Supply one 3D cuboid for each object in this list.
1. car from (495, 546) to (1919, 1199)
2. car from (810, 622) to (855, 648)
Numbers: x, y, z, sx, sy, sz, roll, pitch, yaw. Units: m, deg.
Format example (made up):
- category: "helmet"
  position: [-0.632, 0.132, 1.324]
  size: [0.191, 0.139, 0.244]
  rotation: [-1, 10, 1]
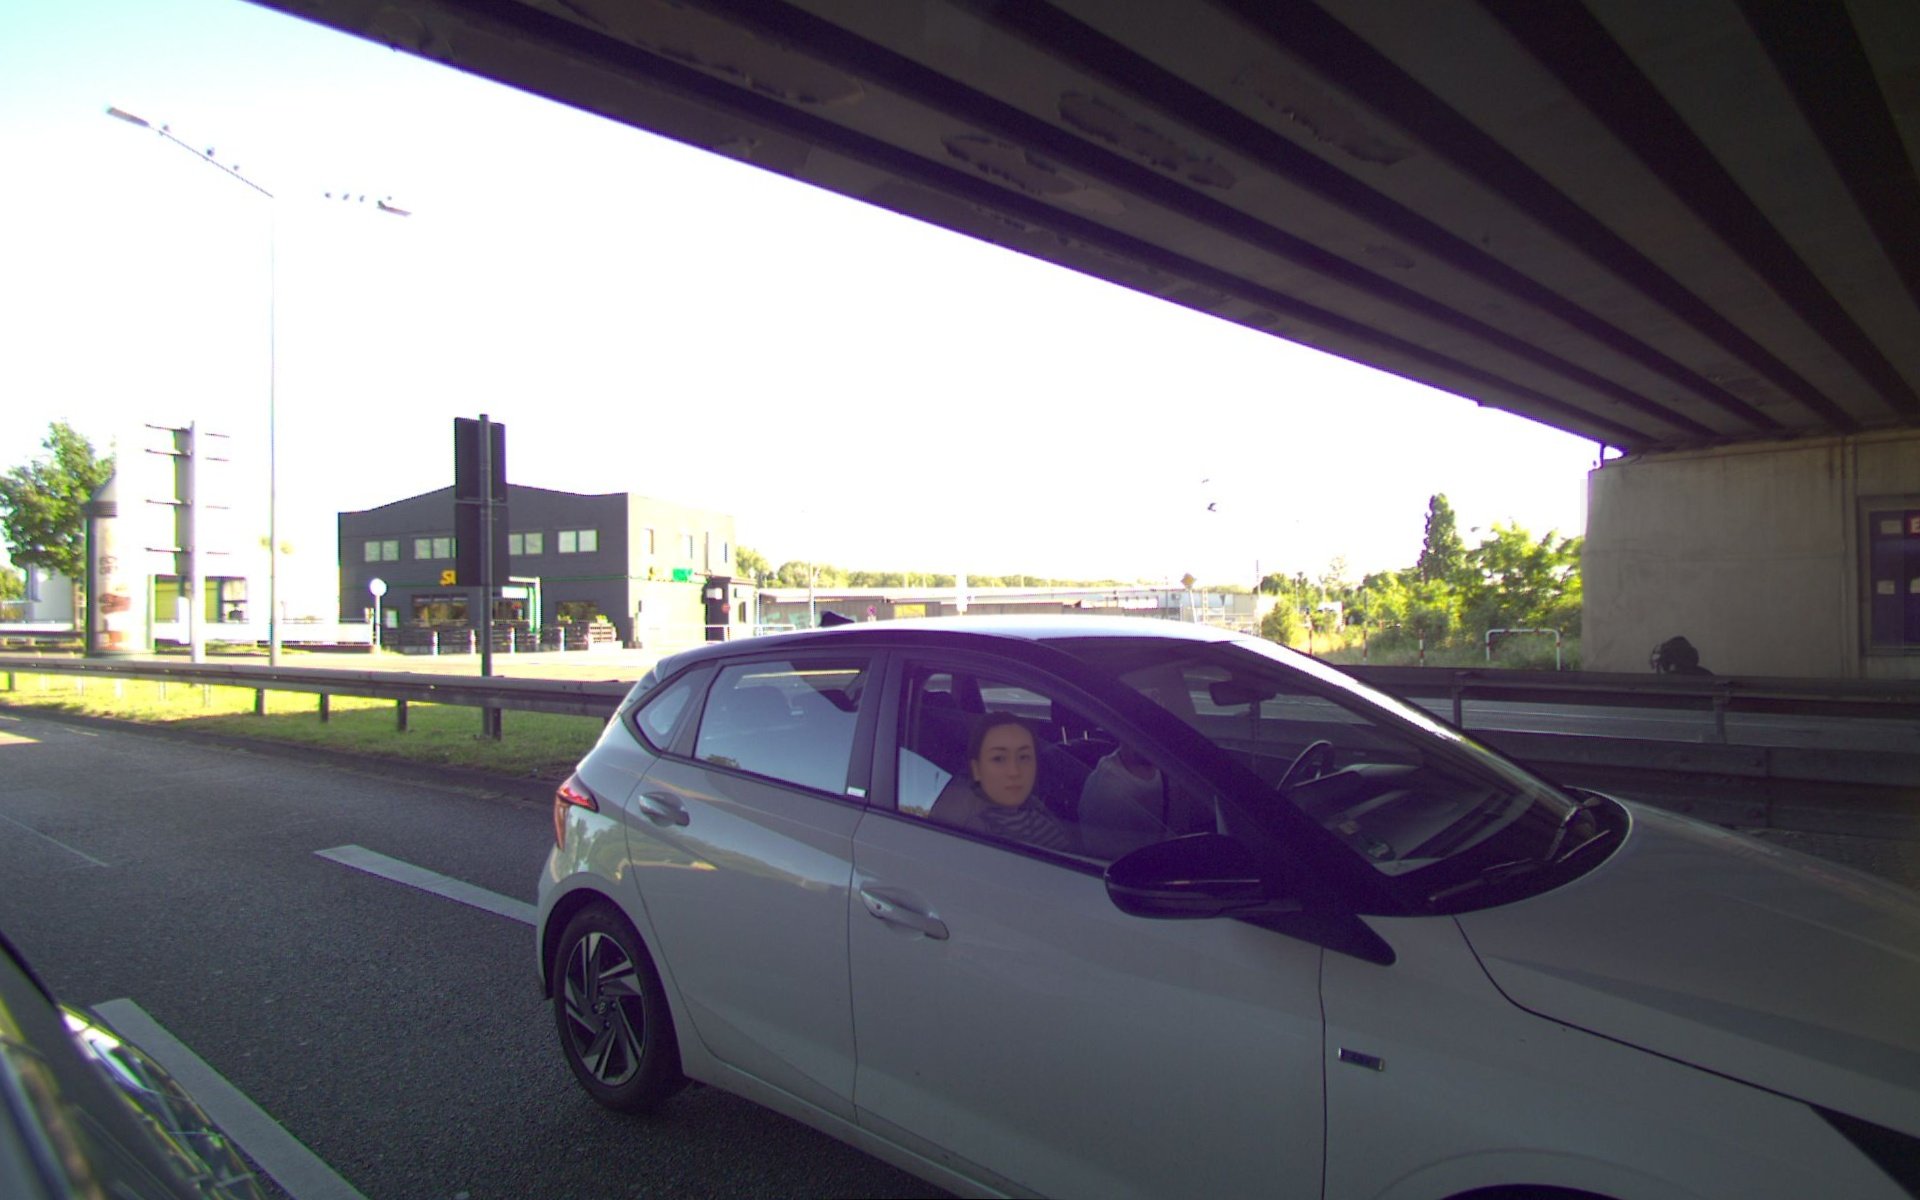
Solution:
- category: "car"
  position: [0.559, 0.714, 2.665]
  size: [3.987, 1.491, 1.716]
  rotation: [-1, -1, 40]
- category: "car"
  position: [-6.877, 1.926, 54.956]
  size: [1.806, 1.291, 4.180]
  rotation: [1, -3, 1]
